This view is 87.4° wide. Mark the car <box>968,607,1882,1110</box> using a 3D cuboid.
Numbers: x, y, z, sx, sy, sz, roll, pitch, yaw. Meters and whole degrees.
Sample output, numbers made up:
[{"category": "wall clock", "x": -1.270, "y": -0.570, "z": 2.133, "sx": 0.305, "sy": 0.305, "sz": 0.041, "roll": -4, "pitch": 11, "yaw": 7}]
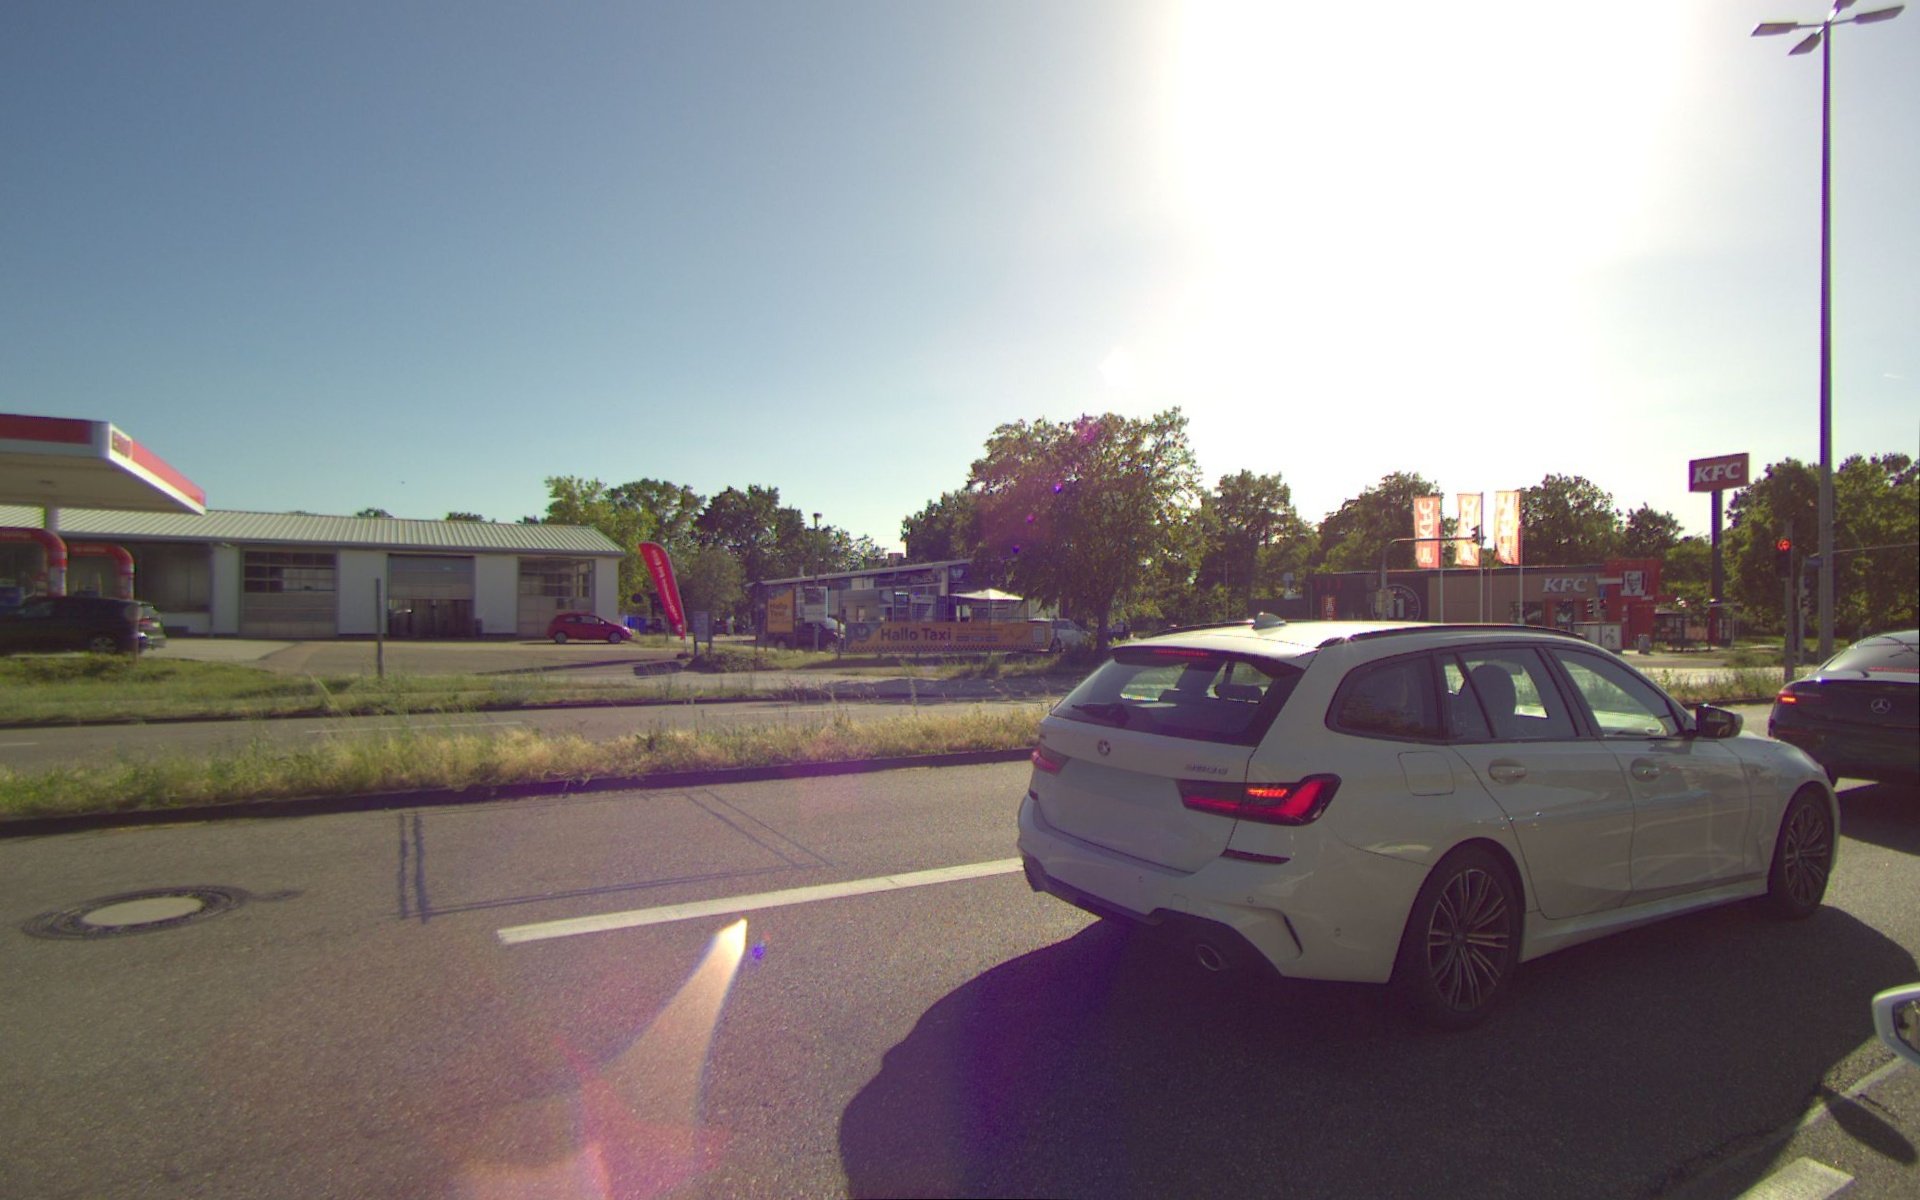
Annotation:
[{"category": "car", "x": 2.448, "y": 0.823, "z": 4.946, "sx": 4.541, "sy": 1.506, "sz": 1.804, "roll": 1, "pitch": -1, "yaw": -30}]

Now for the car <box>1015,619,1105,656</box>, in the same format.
[{"category": "car", "x": 4.328, "y": 1.580, "z": 43.247, "sx": 1.969, "sy": 1.461, "sz": 3.982, "roll": 2, "pitch": 0, "yaw": 39}]

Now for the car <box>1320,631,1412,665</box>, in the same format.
[{"category": "car", "x": 20.104, "y": 2.340, "z": 49.878, "sx": 1.913, "sy": 1.472, "sz": 3.935, "roll": 2, "pitch": 0, "yaw": -30}]

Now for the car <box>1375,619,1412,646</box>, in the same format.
[{"category": "car", "x": 31.496, "y": 2.318, "z": 73.093, "sx": 1.960, "sy": 1.837, "sz": 3.774, "roll": 2, "pitch": 0, "yaw": 16}]

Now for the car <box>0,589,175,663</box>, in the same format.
[{"category": "car", "x": -23.224, "y": 0.670, "z": 25.969, "sx": 4.259, "sy": 1.749, "sz": 1.799, "roll": 2, "pitch": 2, "yaw": -22}]

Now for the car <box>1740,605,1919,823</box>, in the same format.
[{"category": "car", "x": 8.792, "y": 0.876, "z": 8.629, "sx": 4.491, "sy": 1.572, "sz": 1.803, "roll": 1, "pitch": 0, "yaw": -31}]

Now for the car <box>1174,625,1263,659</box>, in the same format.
[{"category": "car", "x": 13.945, "y": 2.244, "z": 54.444, "sx": 1.914, "sy": 1.600, "sz": 4.599, "roll": 2, "pitch": 0, "yaw": -31}]

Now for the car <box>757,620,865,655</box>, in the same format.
[{"category": "car", "x": -5.807, "y": 1.428, "z": 39.061, "sx": 3.930, "sy": 1.193, "sz": 1.774, "roll": 2, "pitch": 0, "yaw": 31}]

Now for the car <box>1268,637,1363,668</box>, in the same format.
[{"category": "car", "x": 17.012, "y": 2.489, "z": 48.226, "sx": 1.850, "sy": 1.268, "sz": 4.062, "roll": 2, "pitch": 0, "yaw": -31}]

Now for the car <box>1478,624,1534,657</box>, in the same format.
[{"category": "car", "x": 32.685, "y": 2.392, "z": 60.235, "sx": 1.896, "sy": 1.763, "sz": 4.099, "roll": 2, "pitch": 0, "yaw": 14}]

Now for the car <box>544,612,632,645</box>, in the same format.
[{"category": "car", "x": -18.283, "y": 1.394, "z": 49.337, "sx": 3.949, "sy": 1.491, "sz": 1.521, "roll": 2, "pitch": 0, "yaw": -24}]

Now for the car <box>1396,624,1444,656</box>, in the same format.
[{"category": "car", "x": 28.045, "y": 2.417, "z": 61.386, "sx": 1.896, "sy": 1.763, "sz": 4.099, "roll": 2, "pitch": 0, "yaw": 14}]
